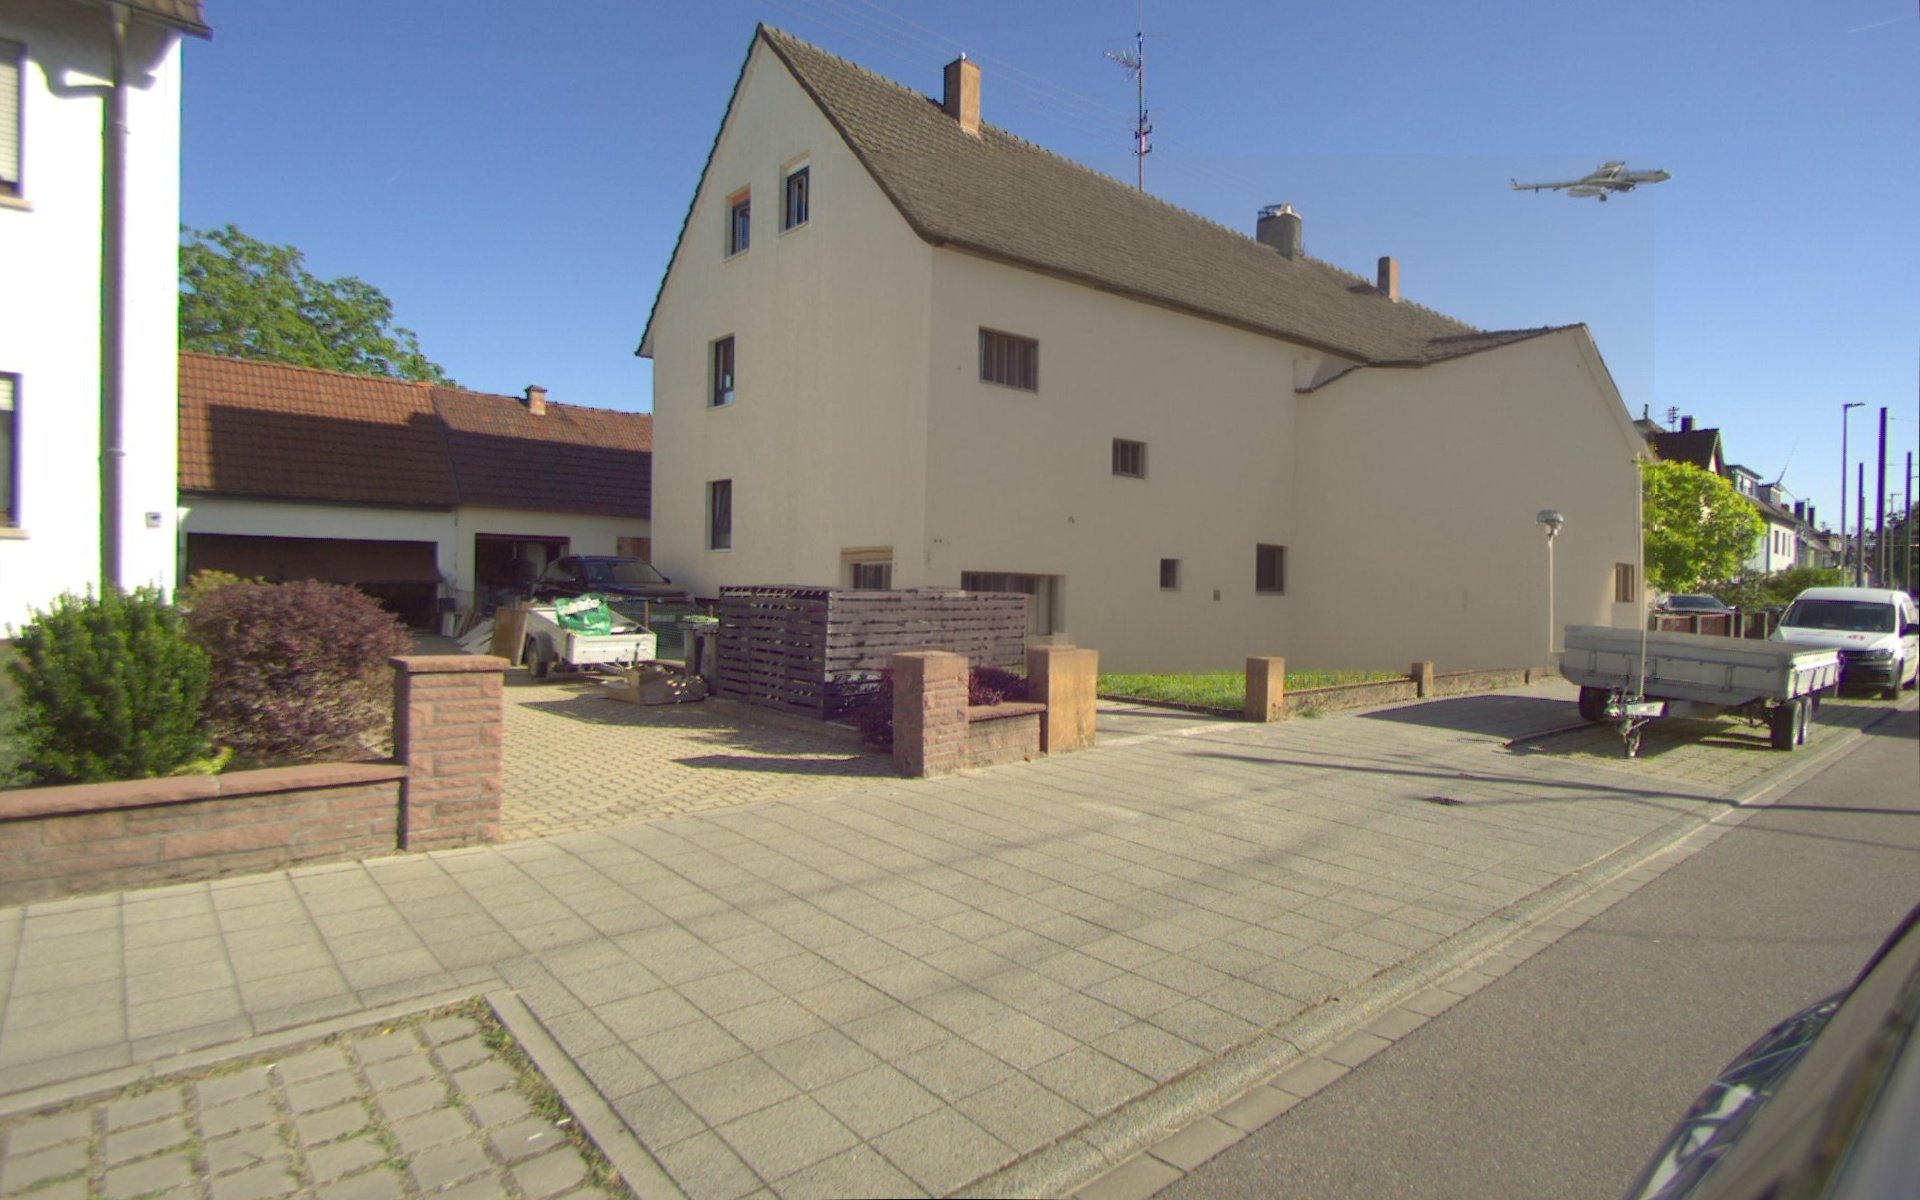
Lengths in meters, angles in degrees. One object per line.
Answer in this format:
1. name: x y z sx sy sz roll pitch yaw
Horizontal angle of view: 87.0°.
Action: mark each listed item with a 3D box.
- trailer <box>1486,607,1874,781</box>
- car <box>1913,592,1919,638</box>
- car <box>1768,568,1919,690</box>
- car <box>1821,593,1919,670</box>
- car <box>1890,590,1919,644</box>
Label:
1. trailer: 8.066 0.761 10.968 6.330 1.144 2.275 0 4 -44
2. car: 33.269 0.553 33.908 4.407 1.486 1.630 0 4 -44
3. car: 15.715 0.426 17.700 4.508 1.784 1.794 0 4 -44
4. car: 20.225 0.625 21.881 4.365 1.488 1.826 0 2 -42
5. car: 28.826 0.497 29.866 4.316 1.498 1.680 -1 4 -44
